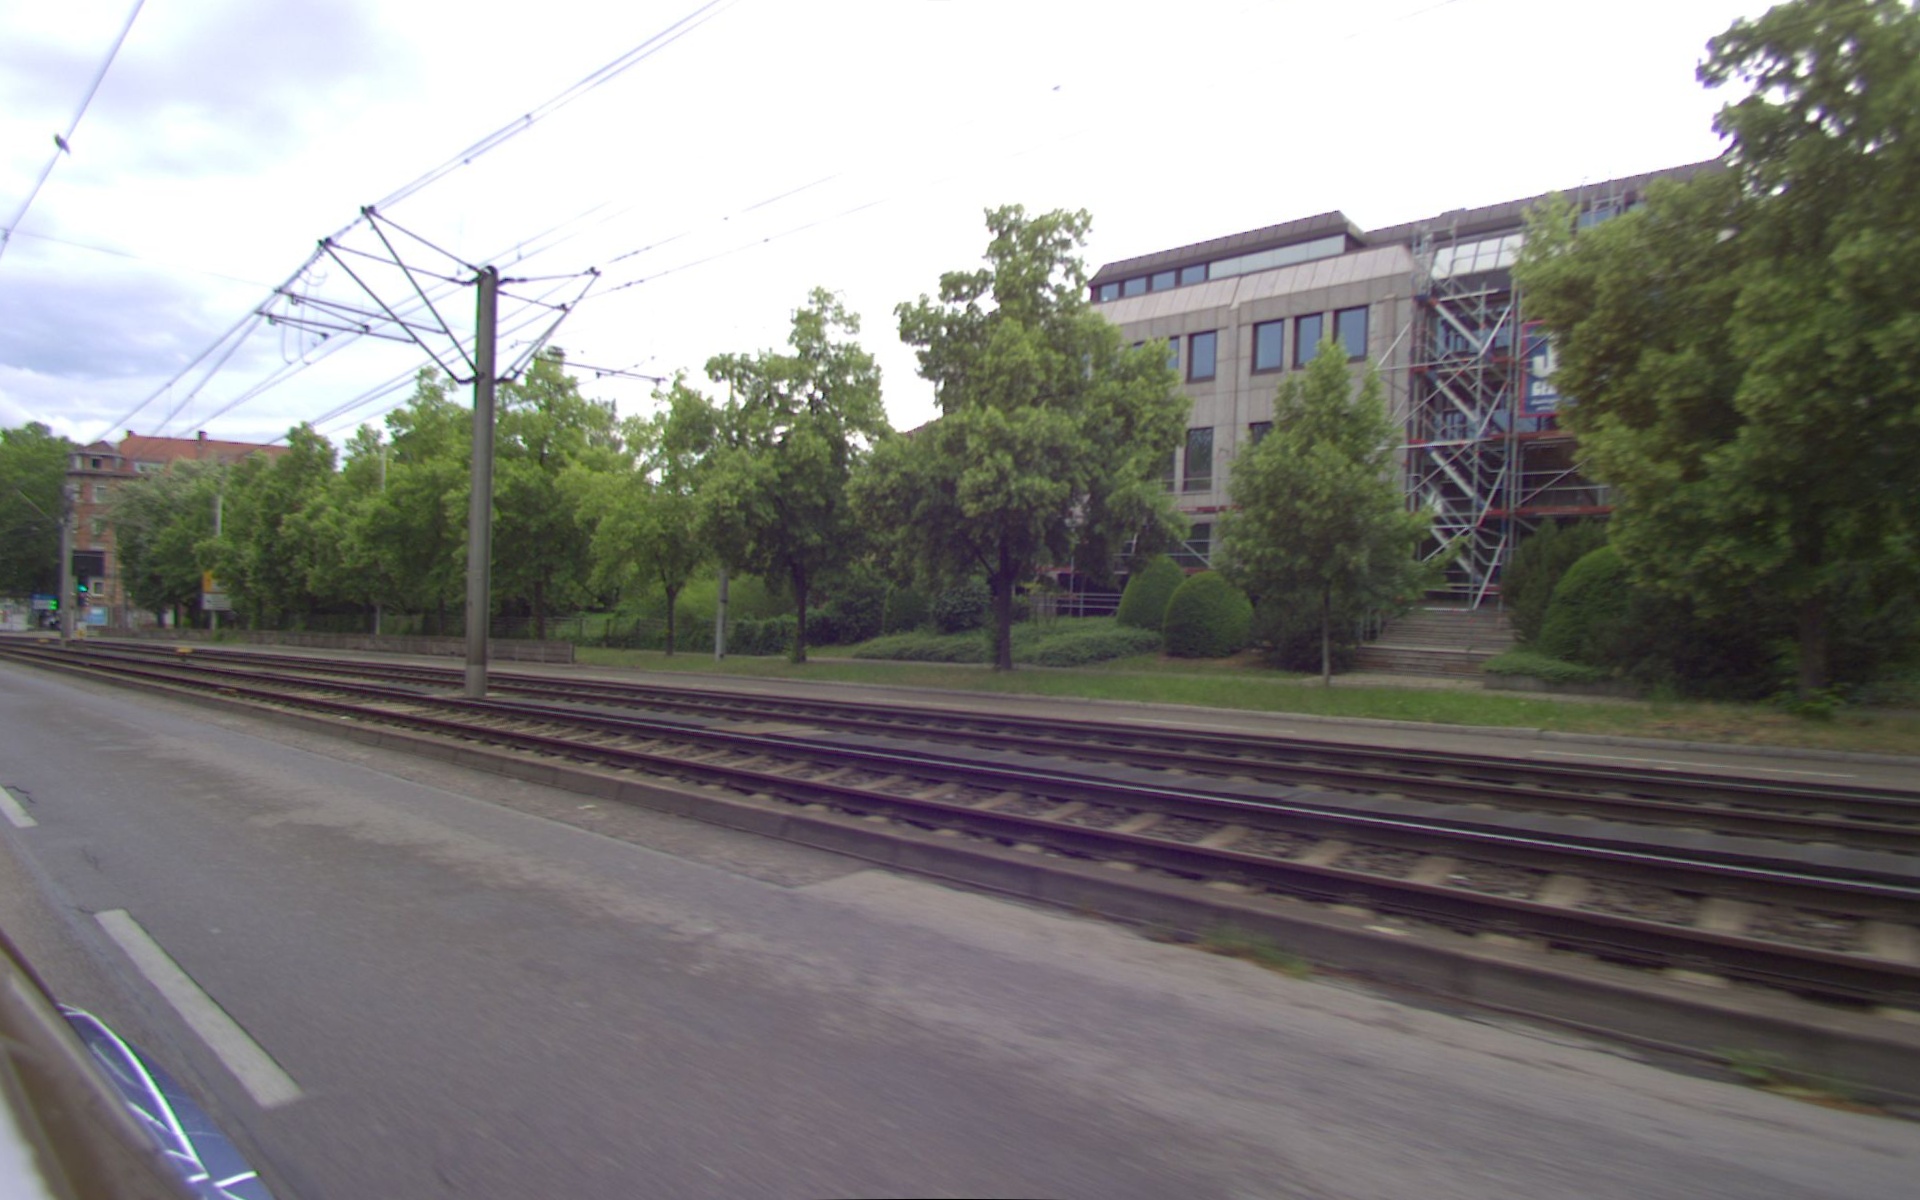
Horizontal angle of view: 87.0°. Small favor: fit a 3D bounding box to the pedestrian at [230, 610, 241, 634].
[{"bbox_3d":[-59.196,1.771,82.676,0.653,1.917,0.590,-1,-1,38],"label":"pedestrian"}]
